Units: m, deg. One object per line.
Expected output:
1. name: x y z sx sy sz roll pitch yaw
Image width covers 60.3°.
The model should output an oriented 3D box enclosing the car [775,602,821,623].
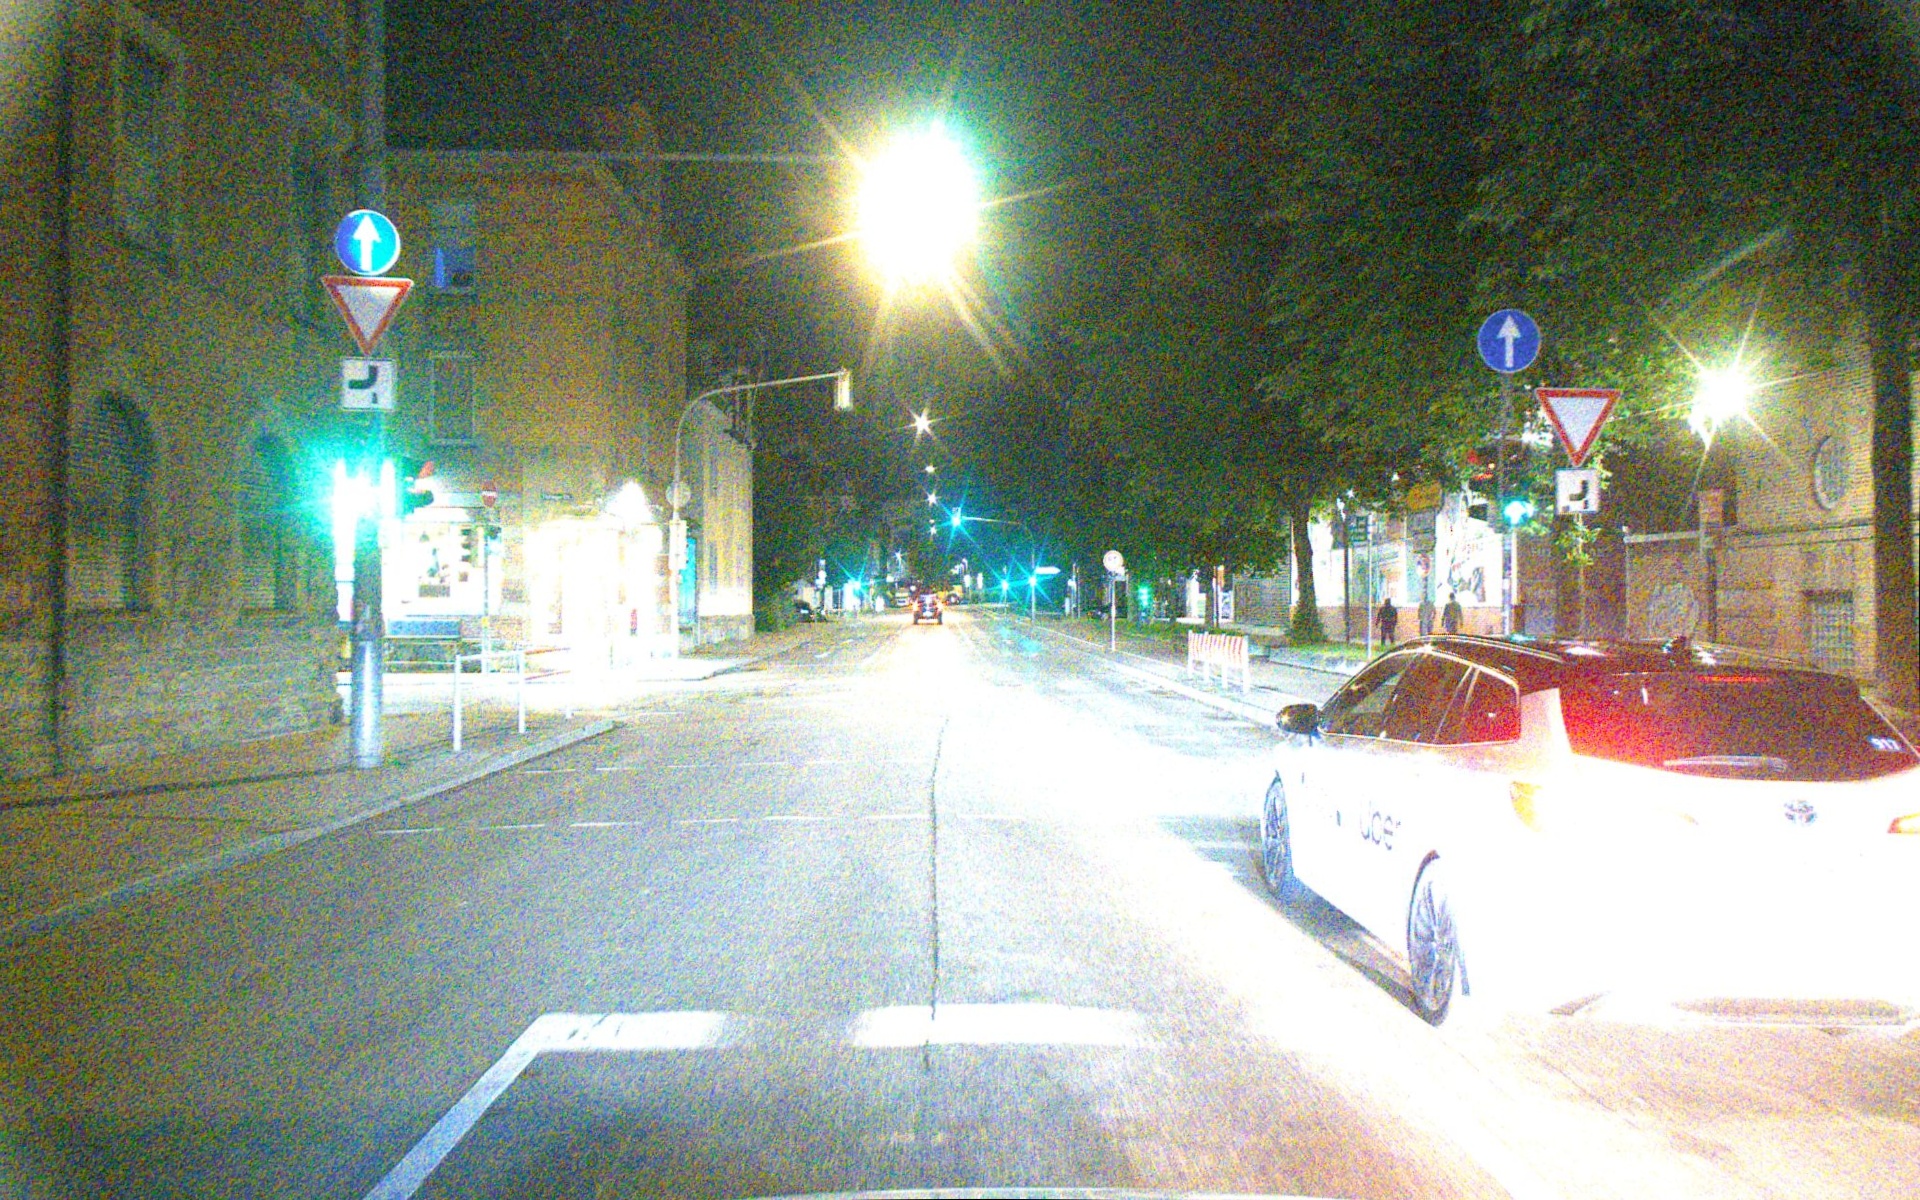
1. car: -12.024 0.940 122.356 1.786 1.512 3.955 -1 0 -32

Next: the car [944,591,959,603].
1. car: -1.173 -0.377 228.144 1.954 1.624 3.997 -1 0 -3

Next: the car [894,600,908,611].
1. car: -7.638 0.698 212.941 1.742 1.414 3.998 -1 0 -3

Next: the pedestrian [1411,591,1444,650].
1. pedestrian: 14.294 0.620 50.611 0.724 1.800 0.907 -1 0 -1

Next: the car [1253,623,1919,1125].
1. car: 2.571 0.872 7.148 1.694 1.460 4.209 1 0 -2

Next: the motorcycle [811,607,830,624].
1. motorcycle: -10.078 1.094 119.569 0.769 1.225 2.435 -1 0 -19

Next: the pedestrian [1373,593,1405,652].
1. pedestrian: 13.125 0.685 50.662 0.699 1.800 0.907 -1 0 -1

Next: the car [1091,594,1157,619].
1. car: 9.995 0.399 101.073 3.904 1.411 1.771 -1 0 2

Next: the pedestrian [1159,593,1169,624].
1. pedestrian: 13.464 0.579 109.141 0.521 2.049 0.670 -1 0 -2

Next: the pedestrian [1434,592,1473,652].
1. pedestrian: 15.231 0.673 51.093 0.882 1.800 0.907 -1 0 -1

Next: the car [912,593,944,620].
1. car: -2.098 0.428 107.402 1.954 1.668 3.998 -1 0 -3

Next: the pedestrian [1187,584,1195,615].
1. pedestrian: 15.369 -0.038 110.060 0.478 2.049 0.550 -1 -1 -2
